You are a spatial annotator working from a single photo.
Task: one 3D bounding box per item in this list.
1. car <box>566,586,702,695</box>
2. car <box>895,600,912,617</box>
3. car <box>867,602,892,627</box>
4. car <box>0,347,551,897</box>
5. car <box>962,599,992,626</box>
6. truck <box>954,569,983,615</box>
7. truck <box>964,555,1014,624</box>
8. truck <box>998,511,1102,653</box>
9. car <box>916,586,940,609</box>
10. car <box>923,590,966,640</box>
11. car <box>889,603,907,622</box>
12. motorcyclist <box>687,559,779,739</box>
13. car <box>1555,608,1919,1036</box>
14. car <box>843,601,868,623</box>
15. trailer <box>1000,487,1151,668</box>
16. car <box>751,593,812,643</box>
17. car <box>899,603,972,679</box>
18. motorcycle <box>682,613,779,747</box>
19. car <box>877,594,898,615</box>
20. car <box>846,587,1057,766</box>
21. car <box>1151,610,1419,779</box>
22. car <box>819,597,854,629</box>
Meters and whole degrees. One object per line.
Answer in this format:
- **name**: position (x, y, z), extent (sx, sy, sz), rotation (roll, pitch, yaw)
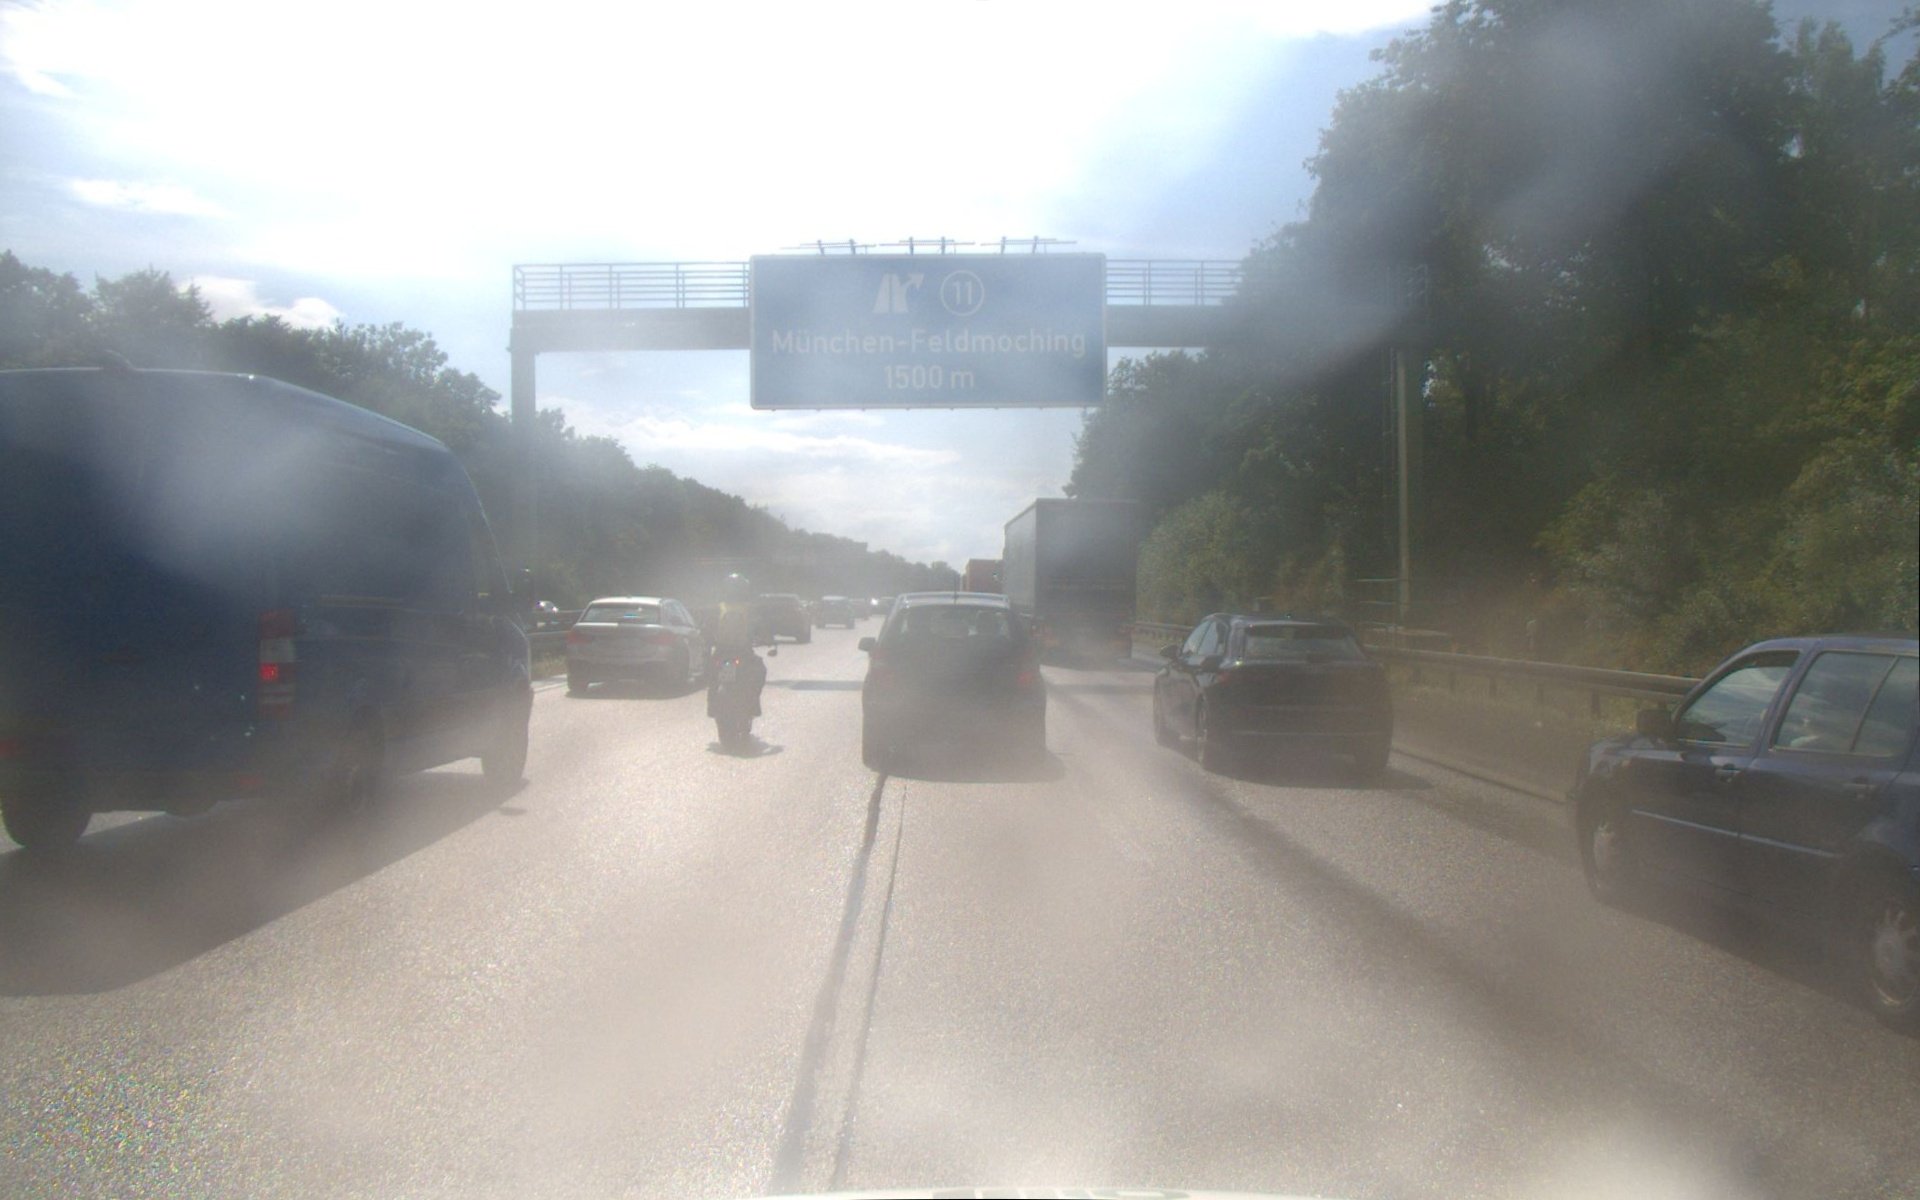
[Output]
- **car**: position (-5.237, 0.609, 27.043), extent (1.724, 1.622, 4.326), rotation (1, 0, -5)
- **car**: position (-7.103, 1.075, 208.298), extent (1.953, 2.049, 3.999), rotation (1, 0, -1)
- **car**: position (-6.950, 1.242, 142.976), extent (1.953, 2.049, 3.999), rotation (1, 0, -1)
- **car**: position (-4.389, 0.111, 11.025), extent (1.975, 2.695, 5.775), rotation (0, 0, -1)
- **car**: position (0.953, 0.730, 95.597), extent (1.641, 1.516, 3.435), rotation (1, 0, -1)
- **truck**: position (0.895, -0.835, 178.573), extent (2.823, 4.769, 12.655), rotation (1, 0, -1)
- **truck**: position (1.906, -0.663, 112.596), extent (3.137, 4.481, 9.431), rotation (1, 0, 0)
- **truck**: position (2.877, -0.532, 54.694), extent (2.990, 4.401, 5.884), rotation (1, -1, -1)
- **car**: position (-2.161, -0.168, 111.303), extent (1.598, 1.516, 3.435), rotation (1, 0, -1)
- **car**: position (-0.646, 0.588, 66.591), extent (1.641, 1.970, 3.772), rotation (0, 0, -1)
- **car**: position (-7.125, 1.441, 188.967), extent (1.953, 2.049, 3.999), rotation (1, 0, -1)
- **motorcyclist**: position (-2.352, 0.496, 17.261), extent (0.805, 1.791, 1.389), rotation (1, -1, -3)
- **car**: position (4.115, 0.788, 7.158), extent (1.617, 1.481, 3.743), rotation (0, 0, -2)
- **car**: position (-7.416, 0.819, 117.950), extent (1.641, 1.516, 3.435), rotation (1, 0, -1)
- **trailer**: position (3.000, -0.539, 47.446), extent (3.025, 4.388, 14.101), rotation (0, 0, -1)
- **car**: position (-6.108, 0.594, 56.981), extent (1.855, 1.656, 4.192), rotation (1, 0, -3)
- **car**: position (-0.713, 1.129, 47.012), extent (1.953, 2.049, 3.999), rotation (1, 0, -2)
- **motorcycle**: position (-2.365, 0.798, 17.276), extent (0.803, 1.285, 2.116), rotation (1, 0, -3)
- **car**: position (-7.250, 0.439, 166.326), extent (1.953, 2.049, 3.999), rotation (1, 0, -1)
- **car**: position (-0.114, 0.687, 16.951), extent (1.876, 1.592, 4.313), rotation (1, 0, -1)
- **car**: position (3.059, 0.825, 16.437), extent (1.719, 1.421, 4.367), rotation (1, 0, -1)
- **car**: position (-6.353, 0.653, 85.416), extent (1.641, 1.625, 3.435), rotation (1, 0, -1)
